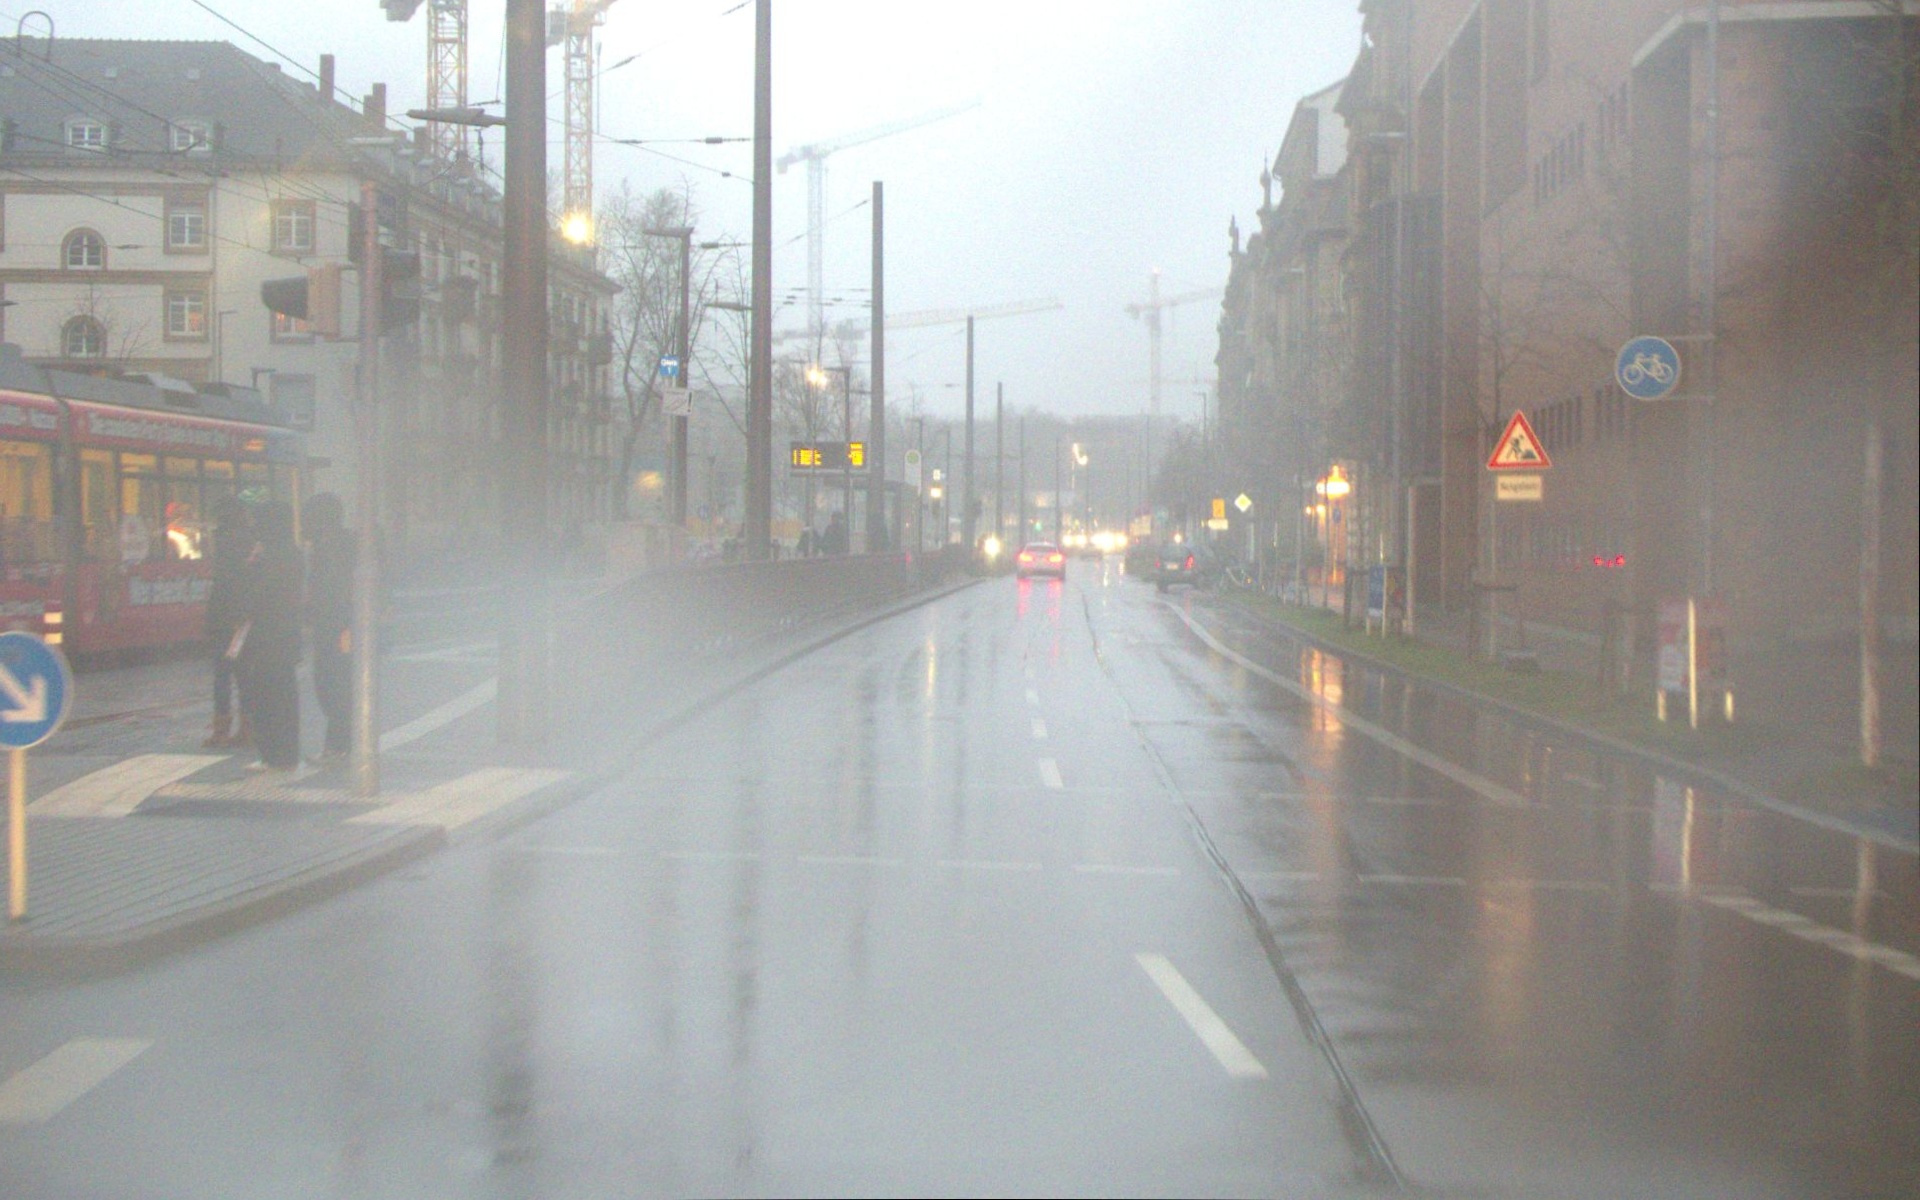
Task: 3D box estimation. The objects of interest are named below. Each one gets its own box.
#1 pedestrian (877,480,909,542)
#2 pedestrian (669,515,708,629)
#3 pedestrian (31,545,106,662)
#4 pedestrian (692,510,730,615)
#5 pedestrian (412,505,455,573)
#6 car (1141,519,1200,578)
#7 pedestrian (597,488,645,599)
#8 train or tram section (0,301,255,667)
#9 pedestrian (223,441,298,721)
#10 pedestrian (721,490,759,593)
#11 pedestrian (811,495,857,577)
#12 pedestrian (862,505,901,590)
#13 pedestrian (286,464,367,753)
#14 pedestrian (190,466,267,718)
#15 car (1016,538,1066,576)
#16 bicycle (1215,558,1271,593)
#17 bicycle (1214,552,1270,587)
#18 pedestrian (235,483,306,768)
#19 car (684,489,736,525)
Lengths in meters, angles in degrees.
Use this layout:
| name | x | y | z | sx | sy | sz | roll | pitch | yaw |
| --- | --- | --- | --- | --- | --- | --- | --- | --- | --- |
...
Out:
| name | x | y | z | sx | sy | sz | roll | pitch | yaw |
| --- | --- | --- | --- | --- | --- | --- | --- | --- | --- |
| pedestrian | -1.640 | -2.181 | 84.514 | 0.679 | 1.511 | 0.619 | 1 | 1 | -10 |
| pedestrian | -3.817 | -0.396 | 48.388 | 0.481 | 1.584 | 0.563 | 1 | 1 | 0 |
| pedestrian | -9.023 | 0.031 | 34.797 | 0.580 | 1.148 | 0.490 | 2 | 1 | 4 |
| pedestrian | -4.017 | -0.613 | 55.532 | 0.540 | 1.686 | 0.643 | 1 | 1 | 0 |
| pedestrian | -11.992 | -1.381 | 78.316 | 0.634 | 1.519 | 0.756 | 1 | 2 | -39 |
| car | 7.325 | -1.817 | 119.511 | 1.994 | 2.007 | 4.000 | 0 | 1 | 4 |
| pedestrian | -4.899 | -0.816 | 49.663 | 0.618 | 1.584 | 0.622 | 1 | 1 | 0 |
| train or tram section | -10.610 | -1.266 | 37.630 | 2.925 | 3.565 | 11.035 | 2 | 1 | 3 |
| pedestrian | -4.963 | -0.136 | 24.401 | 0.433 | 1.960 | 0.473 | 1 | 1 | -3 |
| pedestrian | -3.409 | -0.914 | 53.317 | 0.540 | 1.584 | 0.563 | 1 | 1 | 0 |
| pedestrian | -2.636 | -1.344 | 72.127 | 0.776 | 1.698 | 0.773 | 1 | 1 | -16 |
| pedestrian | -1.803 | -1.208 | 79.183 | 0.809 | 1.941 | 0.804 | 1 | 1 | 3 |
| pedestrian | -4.101 | 0.049 | 22.270 | 0.412 | 1.839 | 0.670 | 1 | 1 | -3 |
| pedestrian | -5.084 | -0.057 | 23.903 | 0.433 | 1.729 | 0.473 | 1 | 1 | -3 |
| car | 3.223 | -1.727 | 136.340 | 1.784 | 1.462 | 3.148 | 0 | 1 | 4 |
| bicycle | 8.817 | -0.754 | 107.171 | 1.730 | 1.051 | 0.371 | -1 | 1 | 1 |
| bicycle | 8.825 | -0.951 | 107.657 | 1.730 | 1.051 | 0.371 | -1 | 1 | 1 |
| pedestrian | -4.358 | 0.153 | 21.747 | 0.359 | 1.780 | 0.440 | 1 | 1 | -3 |
| car | -9.878 | -3.687 | 136.009 | 1.682 | 1.349 | 3.546 | 2 | 1 | 1 |
